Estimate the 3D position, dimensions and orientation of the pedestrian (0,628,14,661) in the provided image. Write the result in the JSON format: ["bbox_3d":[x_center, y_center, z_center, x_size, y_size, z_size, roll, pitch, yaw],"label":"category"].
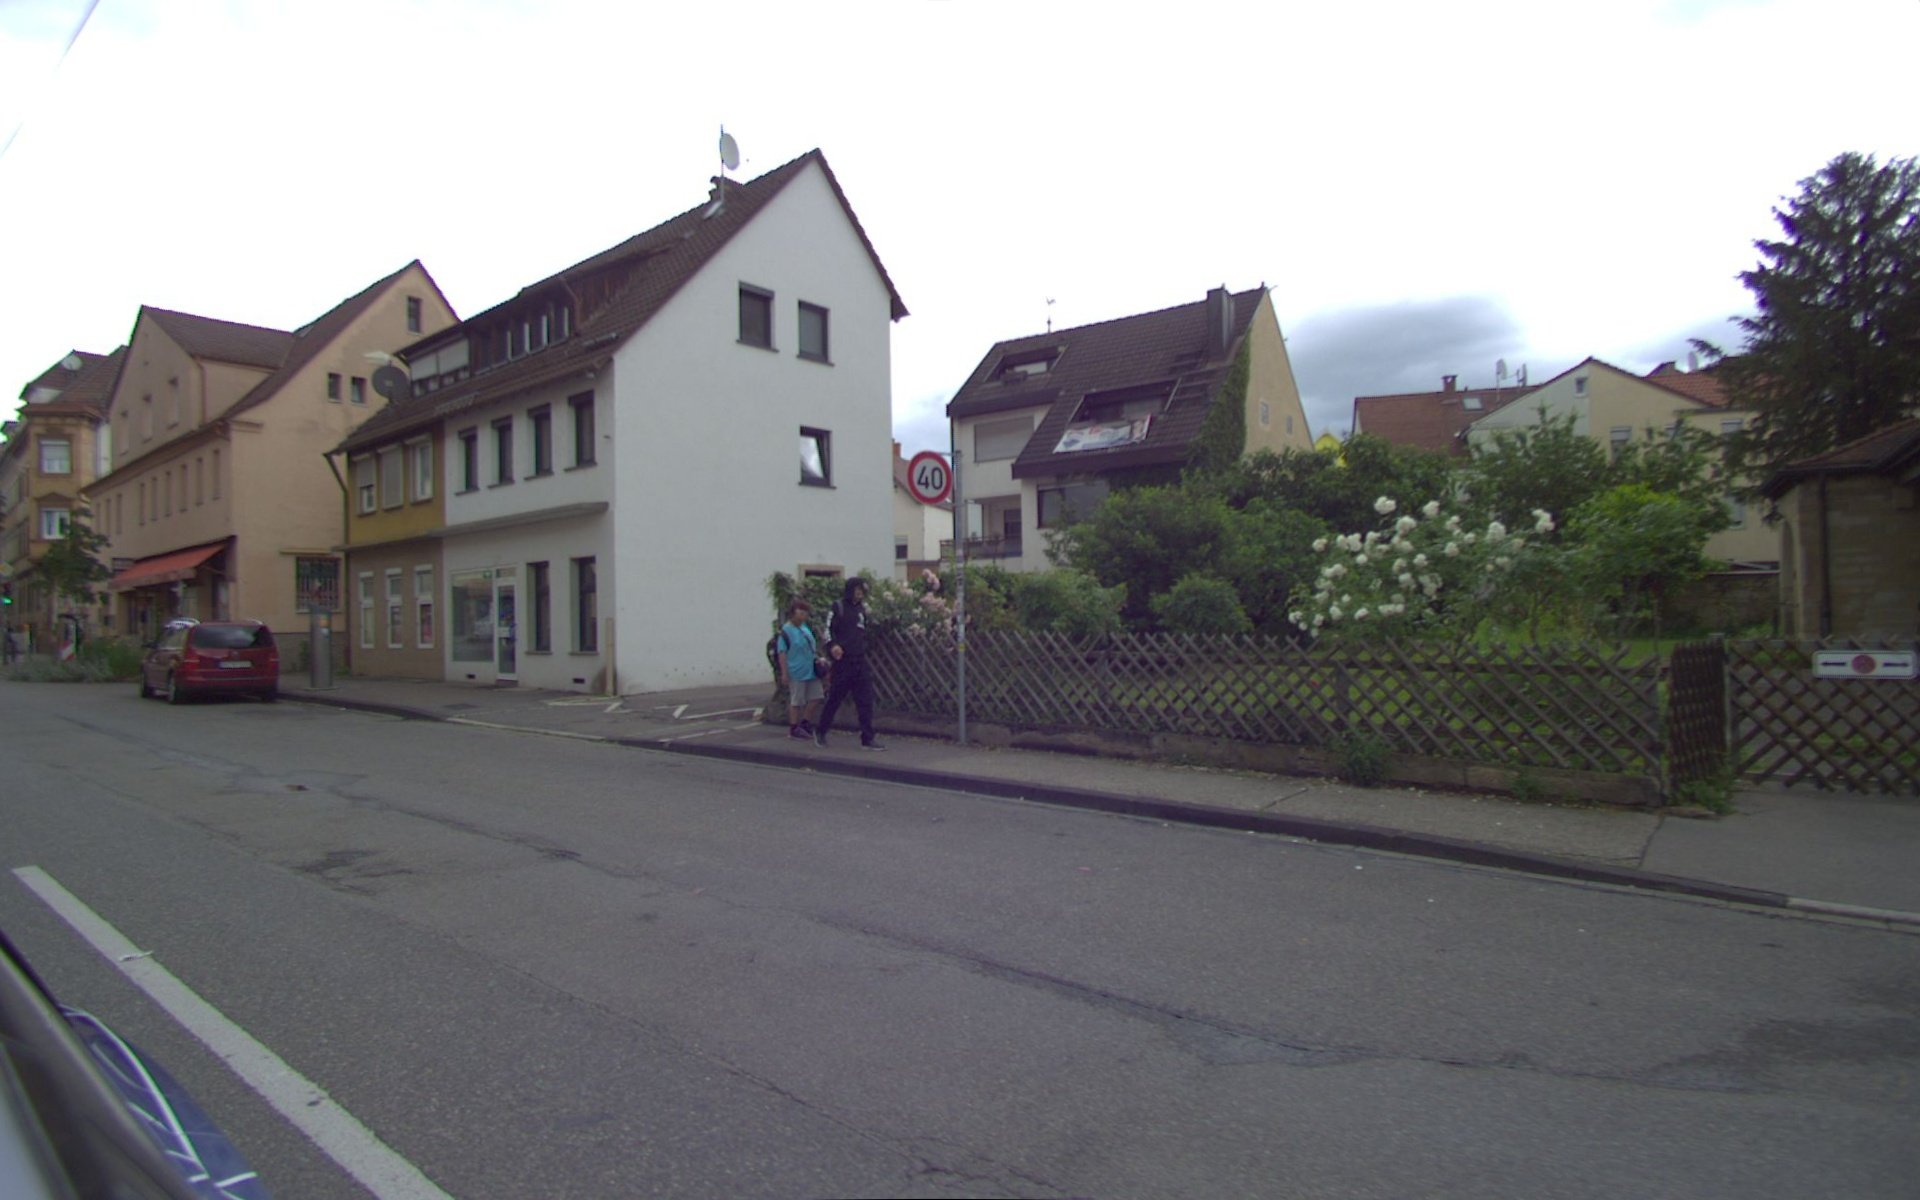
[{"bbox_3d":[-52.383,2.440,55.405,1.155,1.731,0.731,-2,-1,39],"label":"pedestrian"}]

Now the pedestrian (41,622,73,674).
[{"bbox_3d":[-31.807,1.672,35.635,0.982,1.767,0.731,-2,-1,42],"label":"pedestrian"}]

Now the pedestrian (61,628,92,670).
[{"bbox_3d":[-32.814,1.813,37.580,0.982,1.546,0.731,-2,-1,40],"label":"pedestrian"}]

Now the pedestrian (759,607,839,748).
[{"bbox_3d":[-1.886,0.884,11.830,0.696,1.566,0.565,-2,0,41],"label":"pedestrian"}]

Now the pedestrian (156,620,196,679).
[{"bbox_3d":[-22.762,1.432,29.377,0.757,1.641,0.723,-1,1,37],"label":"pedestrian"}]

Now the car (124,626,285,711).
[{"bbox_3d":[-15.700,1.344,20.956,4.447,1.586,1.685,-1,-3,40],"label":"car"}]

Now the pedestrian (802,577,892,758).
[{"bbox_3d":[-1.223,0.706,10.935,0.696,1.862,0.565,-2,1,41],"label":"pedestrian"}]
